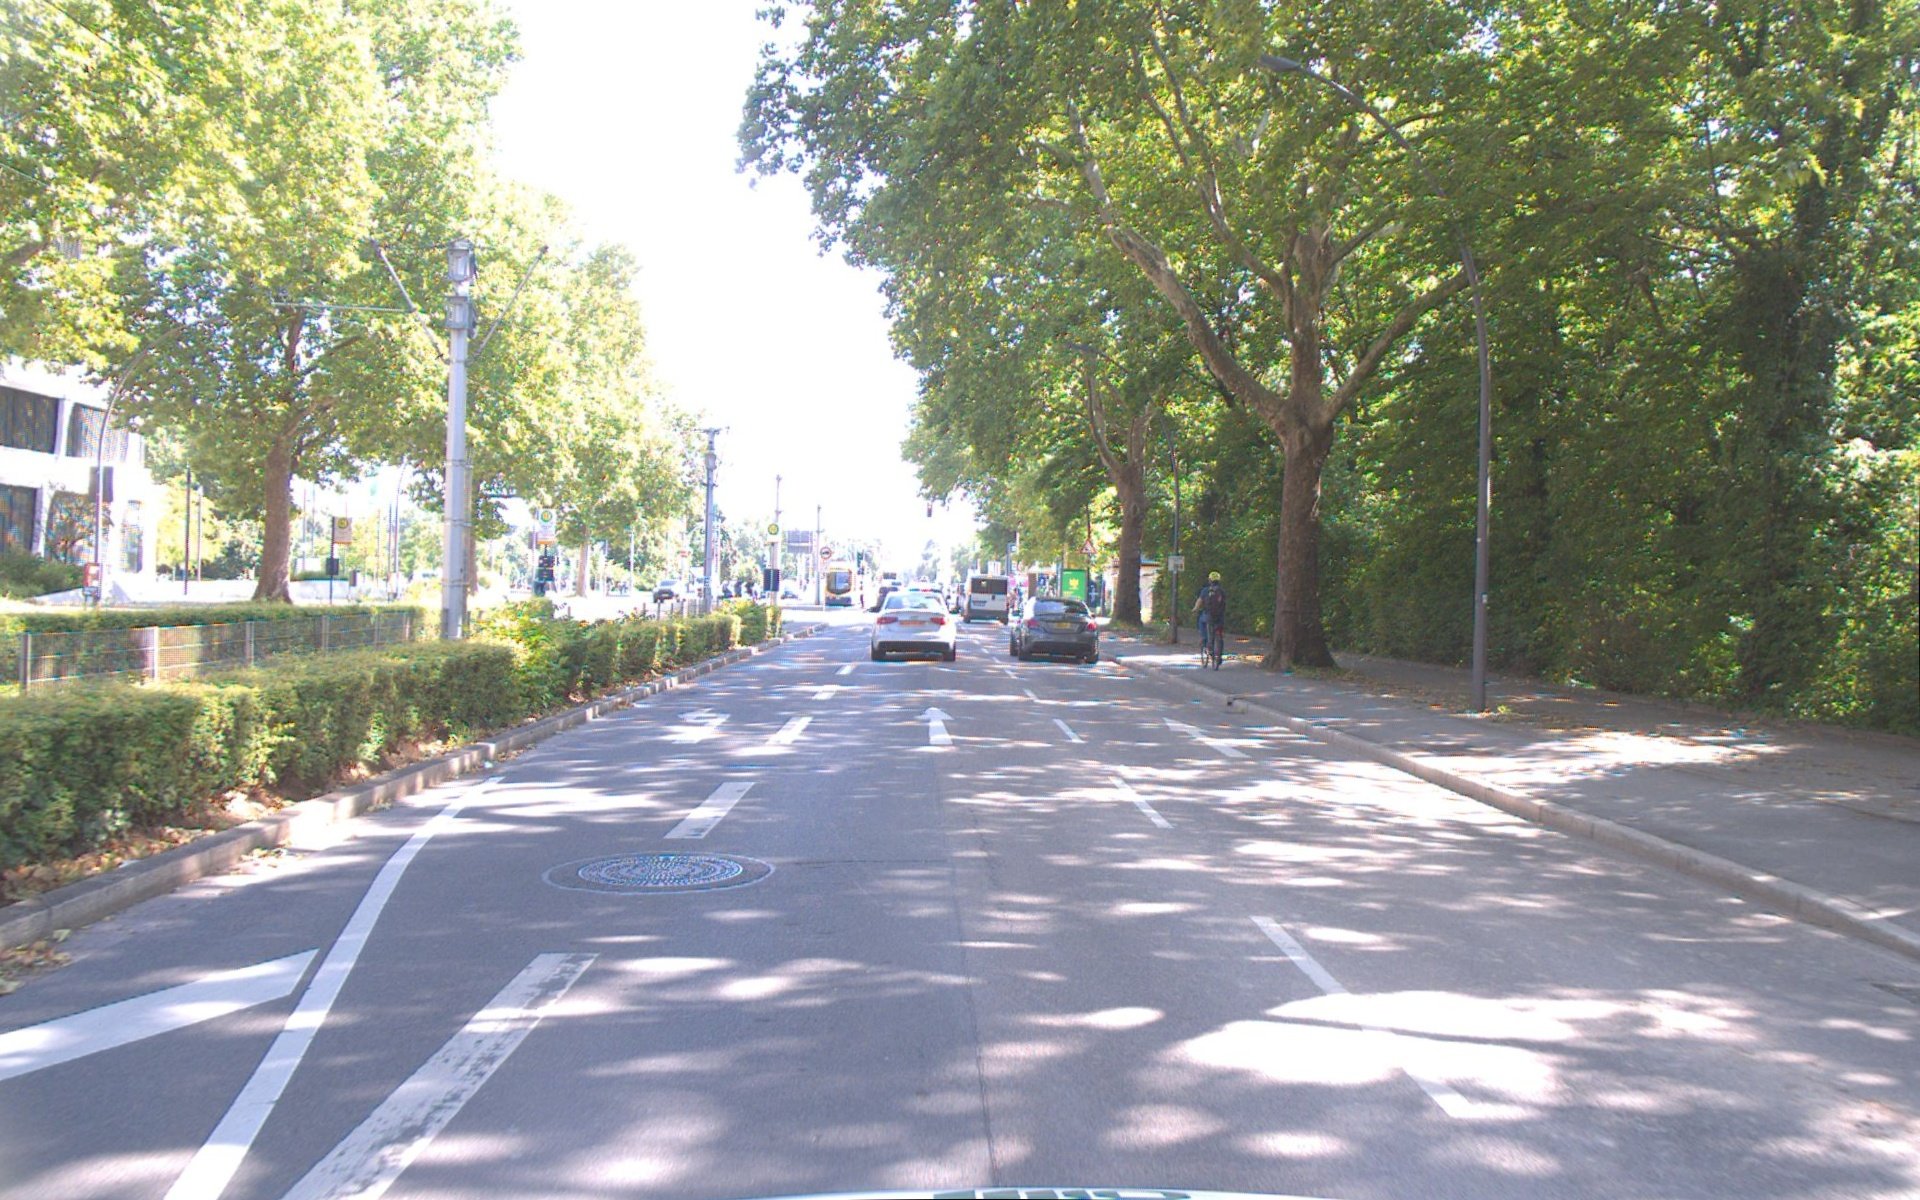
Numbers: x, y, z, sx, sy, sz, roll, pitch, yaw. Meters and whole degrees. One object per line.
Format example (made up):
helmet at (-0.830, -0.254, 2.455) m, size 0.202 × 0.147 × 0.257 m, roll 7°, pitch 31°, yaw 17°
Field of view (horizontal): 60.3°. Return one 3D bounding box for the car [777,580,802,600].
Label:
car at (-16.274, -0.960, 157.608) m, size 1.953 × 1.764 × 4.000 m, roll 2°, pitch 0°, yaw -1°

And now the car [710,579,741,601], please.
car at (-18.208, -0.797, 128.564) m, size 1.774 × 1.590 × 4.303 m, roll 2°, pitch 0°, yaw -1°

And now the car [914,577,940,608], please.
car at (-2.228, -0.510, 111.425) m, size 1.694 × 1.935 × 3.999 m, roll 2°, pitch 0°, yaw -1°

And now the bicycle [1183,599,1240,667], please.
bicycle at (4.859, 0.615, 32.113) m, size 0.700 × 1.168 × 2.178 m, roll -1°, pitch 3°, yaw -2°

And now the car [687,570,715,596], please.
car at (-25.238, -1.686, 161.399) m, size 2.071 × 2.424 × 4.000 m, roll 1°, pitch 0°, yaw -1°

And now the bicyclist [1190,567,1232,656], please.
bicyclist at (4.851, 0.205, 31.995) m, size 0.621 × 1.676 × 0.979 m, roll -1°, pitch 2°, yaw -2°

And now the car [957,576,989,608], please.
car at (0.833, -0.556, 112.154) m, size 2.030 × 2.034 × 4.057 m, roll 2°, pitch 0°, yaw -1°

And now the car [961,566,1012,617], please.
car at (1.213, -0.404, 77.353) m, size 2.184 × 2.250 × 4.161 m, roll 2°, pitch 0°, yaw -1°

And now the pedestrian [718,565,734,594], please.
pedestrian at (-13.825, -1.221, 97.743) m, size 0.748 × 1.651 × 0.590 m, roll 2°, pitch 0°, yaw -26°

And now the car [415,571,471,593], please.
car at (-39.975, -1.422, 127.987) m, size 3.769 × 1.576 × 1.769 m, roll 2°, pitch 0°, yaw -1°

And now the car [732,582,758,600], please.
car at (-19.243, -0.809, 148.226) m, size 1.760 × 1.514 × 4.384 m, roll 2°, pitch 0°, yaw -1°

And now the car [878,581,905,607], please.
car at (-4.583, -0.436, 110.880) m, size 1.694 × 1.659 × 3.999 m, roll 2°, pitch 0°, yaw -1°

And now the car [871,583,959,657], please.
car at (-0.943, 0.391, 35.401) m, size 1.748 × 1.445 × 3.884 m, roll 2°, pitch 0°, yaw -1°

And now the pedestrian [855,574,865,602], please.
pedestrian at (-7.147, -0.853, 118.121) m, size 0.611 × 1.951 × 0.689 m, roll 2°, pitch 0°, yaw -1°

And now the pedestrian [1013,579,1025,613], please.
pedestrian at (3.478, -0.209, 97.535) m, size 0.622 × 1.980 × 0.719 m, roll 2°, pitch 0°, yaw -1°

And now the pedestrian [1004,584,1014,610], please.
pedestrian at (3.210, -0.216, 108.579) m, size 0.590 × 1.724 × 0.953 m, roll -1°, pitch 0°, yaw -1°

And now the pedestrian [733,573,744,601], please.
pedestrian at (-13.584, -0.786, 101.346) m, size 0.581 × 1.675 × 0.554 m, roll 2°, pitch 0°, yaw -1°

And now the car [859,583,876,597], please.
car at (-11.685, -1.291, 209.282) m, size 1.832 × 1.637 × 4.001 m, roll 2°, pitch 0°, yaw 1°

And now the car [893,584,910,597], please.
car at (-7.382, -1.203, 209.178) m, size 1.832 × 1.637 × 4.001 m, roll 2°, pitch 0°, yaw 1°

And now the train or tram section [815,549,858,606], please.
train or tram section at (-9.232, -1.657, 124.533) m, size 2.563 × 4.085 × 7.748 m, roll 2°, pitch 0°, yaw -1°

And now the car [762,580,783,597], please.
car at (-19.594, -1.219, 173.144) m, size 1.728 × 1.637 × 3.860 m, roll 2°, pitch 0°, yaw -1°

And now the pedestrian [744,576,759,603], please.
pedestrian at (-13.602, -0.678, 108.005) m, size 0.758 × 1.764 × 0.755 m, roll 2°, pitch 0°, yaw 7°

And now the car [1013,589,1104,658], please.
car at (2.186, 0.490, 37.812) m, size 1.746 × 1.445 × 3.999 m, roll 2°, pitch 0°, yaw -1°

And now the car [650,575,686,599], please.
car at (-21.500, -0.948, 121.933) m, size 1.793 × 1.652 × 4.895 m, roll 2°, pitch 0°, yaw -1°

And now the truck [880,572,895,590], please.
truck at (-11.486, -3.020, 262.469) m, size 1.953 × 2.839 × 8.517 m, roll 2°, pitch 0°, yaw -1°

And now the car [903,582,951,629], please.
car at (-1.206, 0.186, 61.501) m, size 1.694 × 1.633 × 3.884 m, roll 2°, pitch 0°, yaw -1°

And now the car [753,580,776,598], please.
car at (-19.279, -1.103, 163.286) m, size 1.833 × 1.637 × 4.000 m, roll 2°, pitch 0°, yaw -1°
